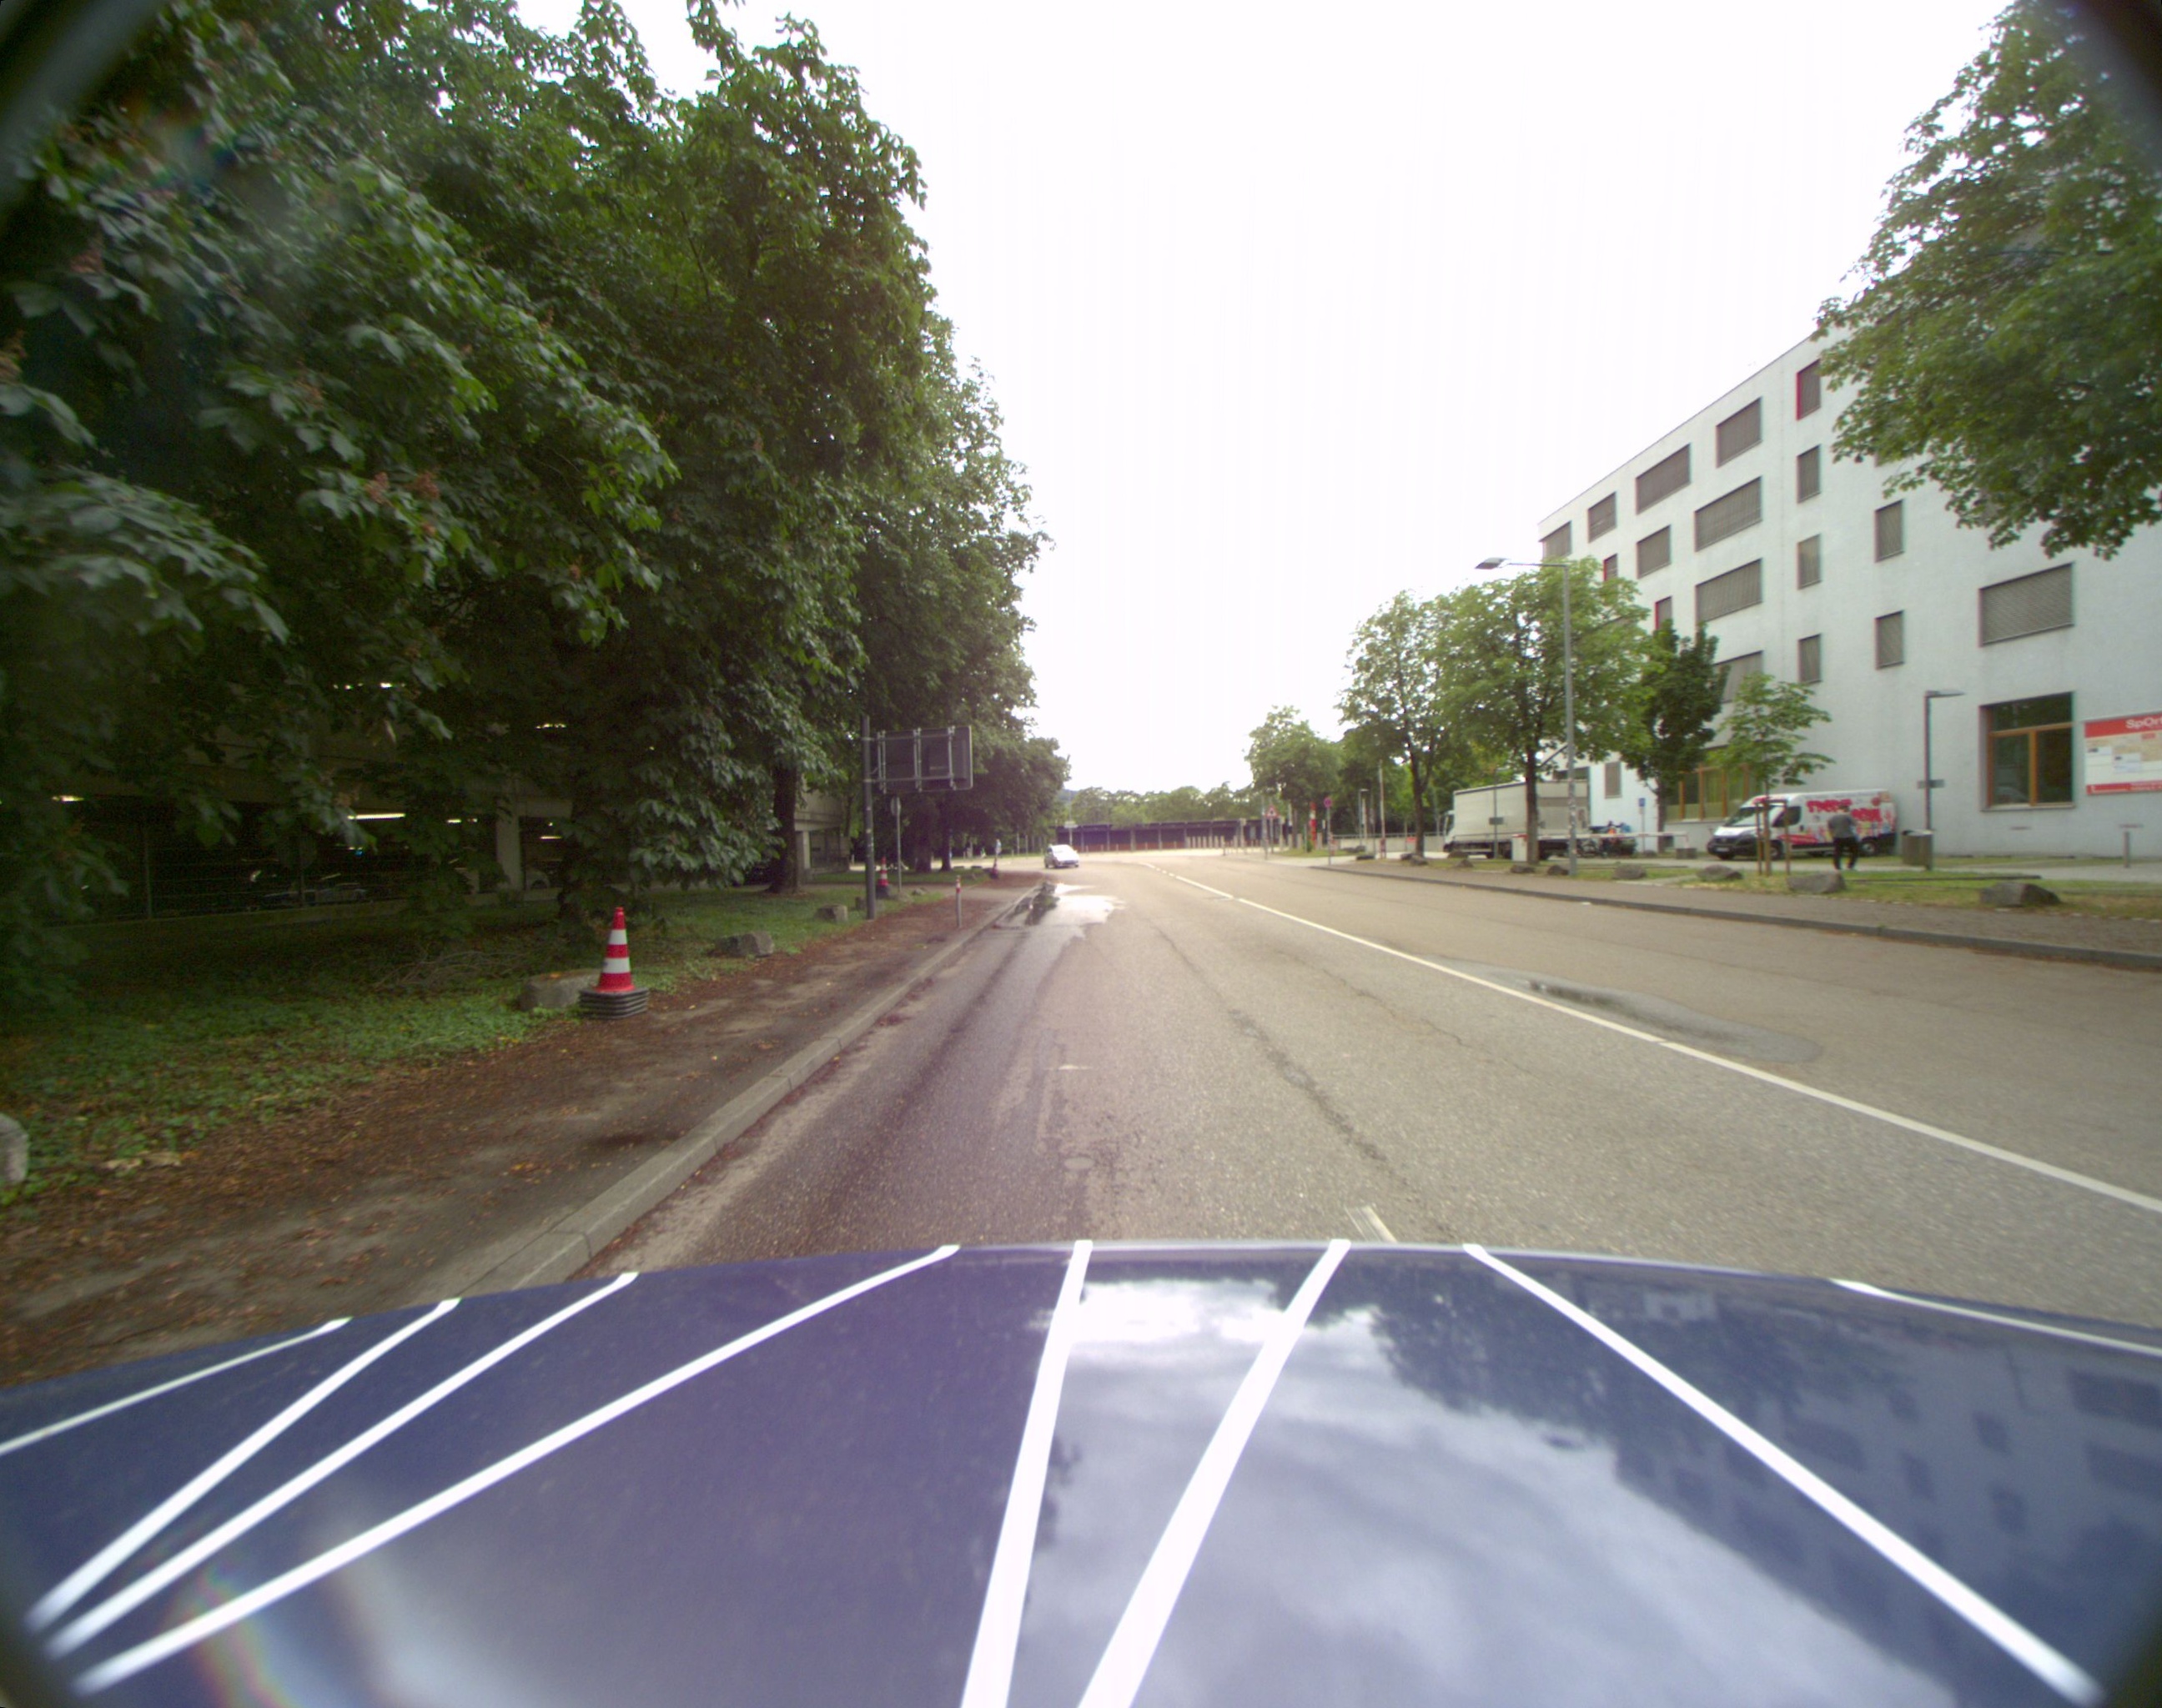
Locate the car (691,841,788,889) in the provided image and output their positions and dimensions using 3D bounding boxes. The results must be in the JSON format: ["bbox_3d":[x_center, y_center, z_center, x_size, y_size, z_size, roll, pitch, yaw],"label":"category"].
[{"bbox_3d":[-14.708,0.403,33.055,1.924,1.824,4.734,-3,1,0],"label":"car"}]

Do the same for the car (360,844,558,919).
[{"bbox_3d":[-17.280,0.674,21.479,1.589,1.699,4.666,-3,2,1],"label":"car"}]

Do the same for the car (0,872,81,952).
[{"bbox_3d":[-22.738,1.279,14.715,1.721,1.537,3.700,-3,2,-1],"label":"car"}]

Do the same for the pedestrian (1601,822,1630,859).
[{"bbox_3d":[23.478,-0.604,33.392,0.886,1.597,0.680,-2,3,21],"label":"pedestrian"}]

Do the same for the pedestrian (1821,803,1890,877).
[{"bbox_3d":[18.281,-0.339,17.946,0.846,1.663,0.786,-3,3,-6],"label":"pedestrian"}]

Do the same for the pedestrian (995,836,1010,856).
[{"bbox_3d":[-7.599,-0.762,73.504,1.200,1.824,0.927,-3,3,4],"label":"pedestrian"}]

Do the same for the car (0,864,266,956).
[{"bbox_3d":[-20.396,1.104,16.302,1.721,1.537,3.700,-3,2,-1],"label":"car"}]

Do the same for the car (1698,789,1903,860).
[{"bbox_3d":[26.568,-1.095,28.191,5.640,2.266,2.078,-3,2,0],"label":"car"}]

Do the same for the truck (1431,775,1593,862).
[{"bbox_3d":[20.288,-1.662,36.493,2.684,3.581,8.360,-3,2,-2],"label":"truck"}]

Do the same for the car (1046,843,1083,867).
[{"bbox_3d":[-1.119,0.022,50.259,1.608,1.448,3.497,-3,2,-14],"label":"car"}]

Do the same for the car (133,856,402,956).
[{"bbox_3d":[-17.518,1.019,16.680,1.589,1.699,3.856,-3,2,1],"label":"car"}]
